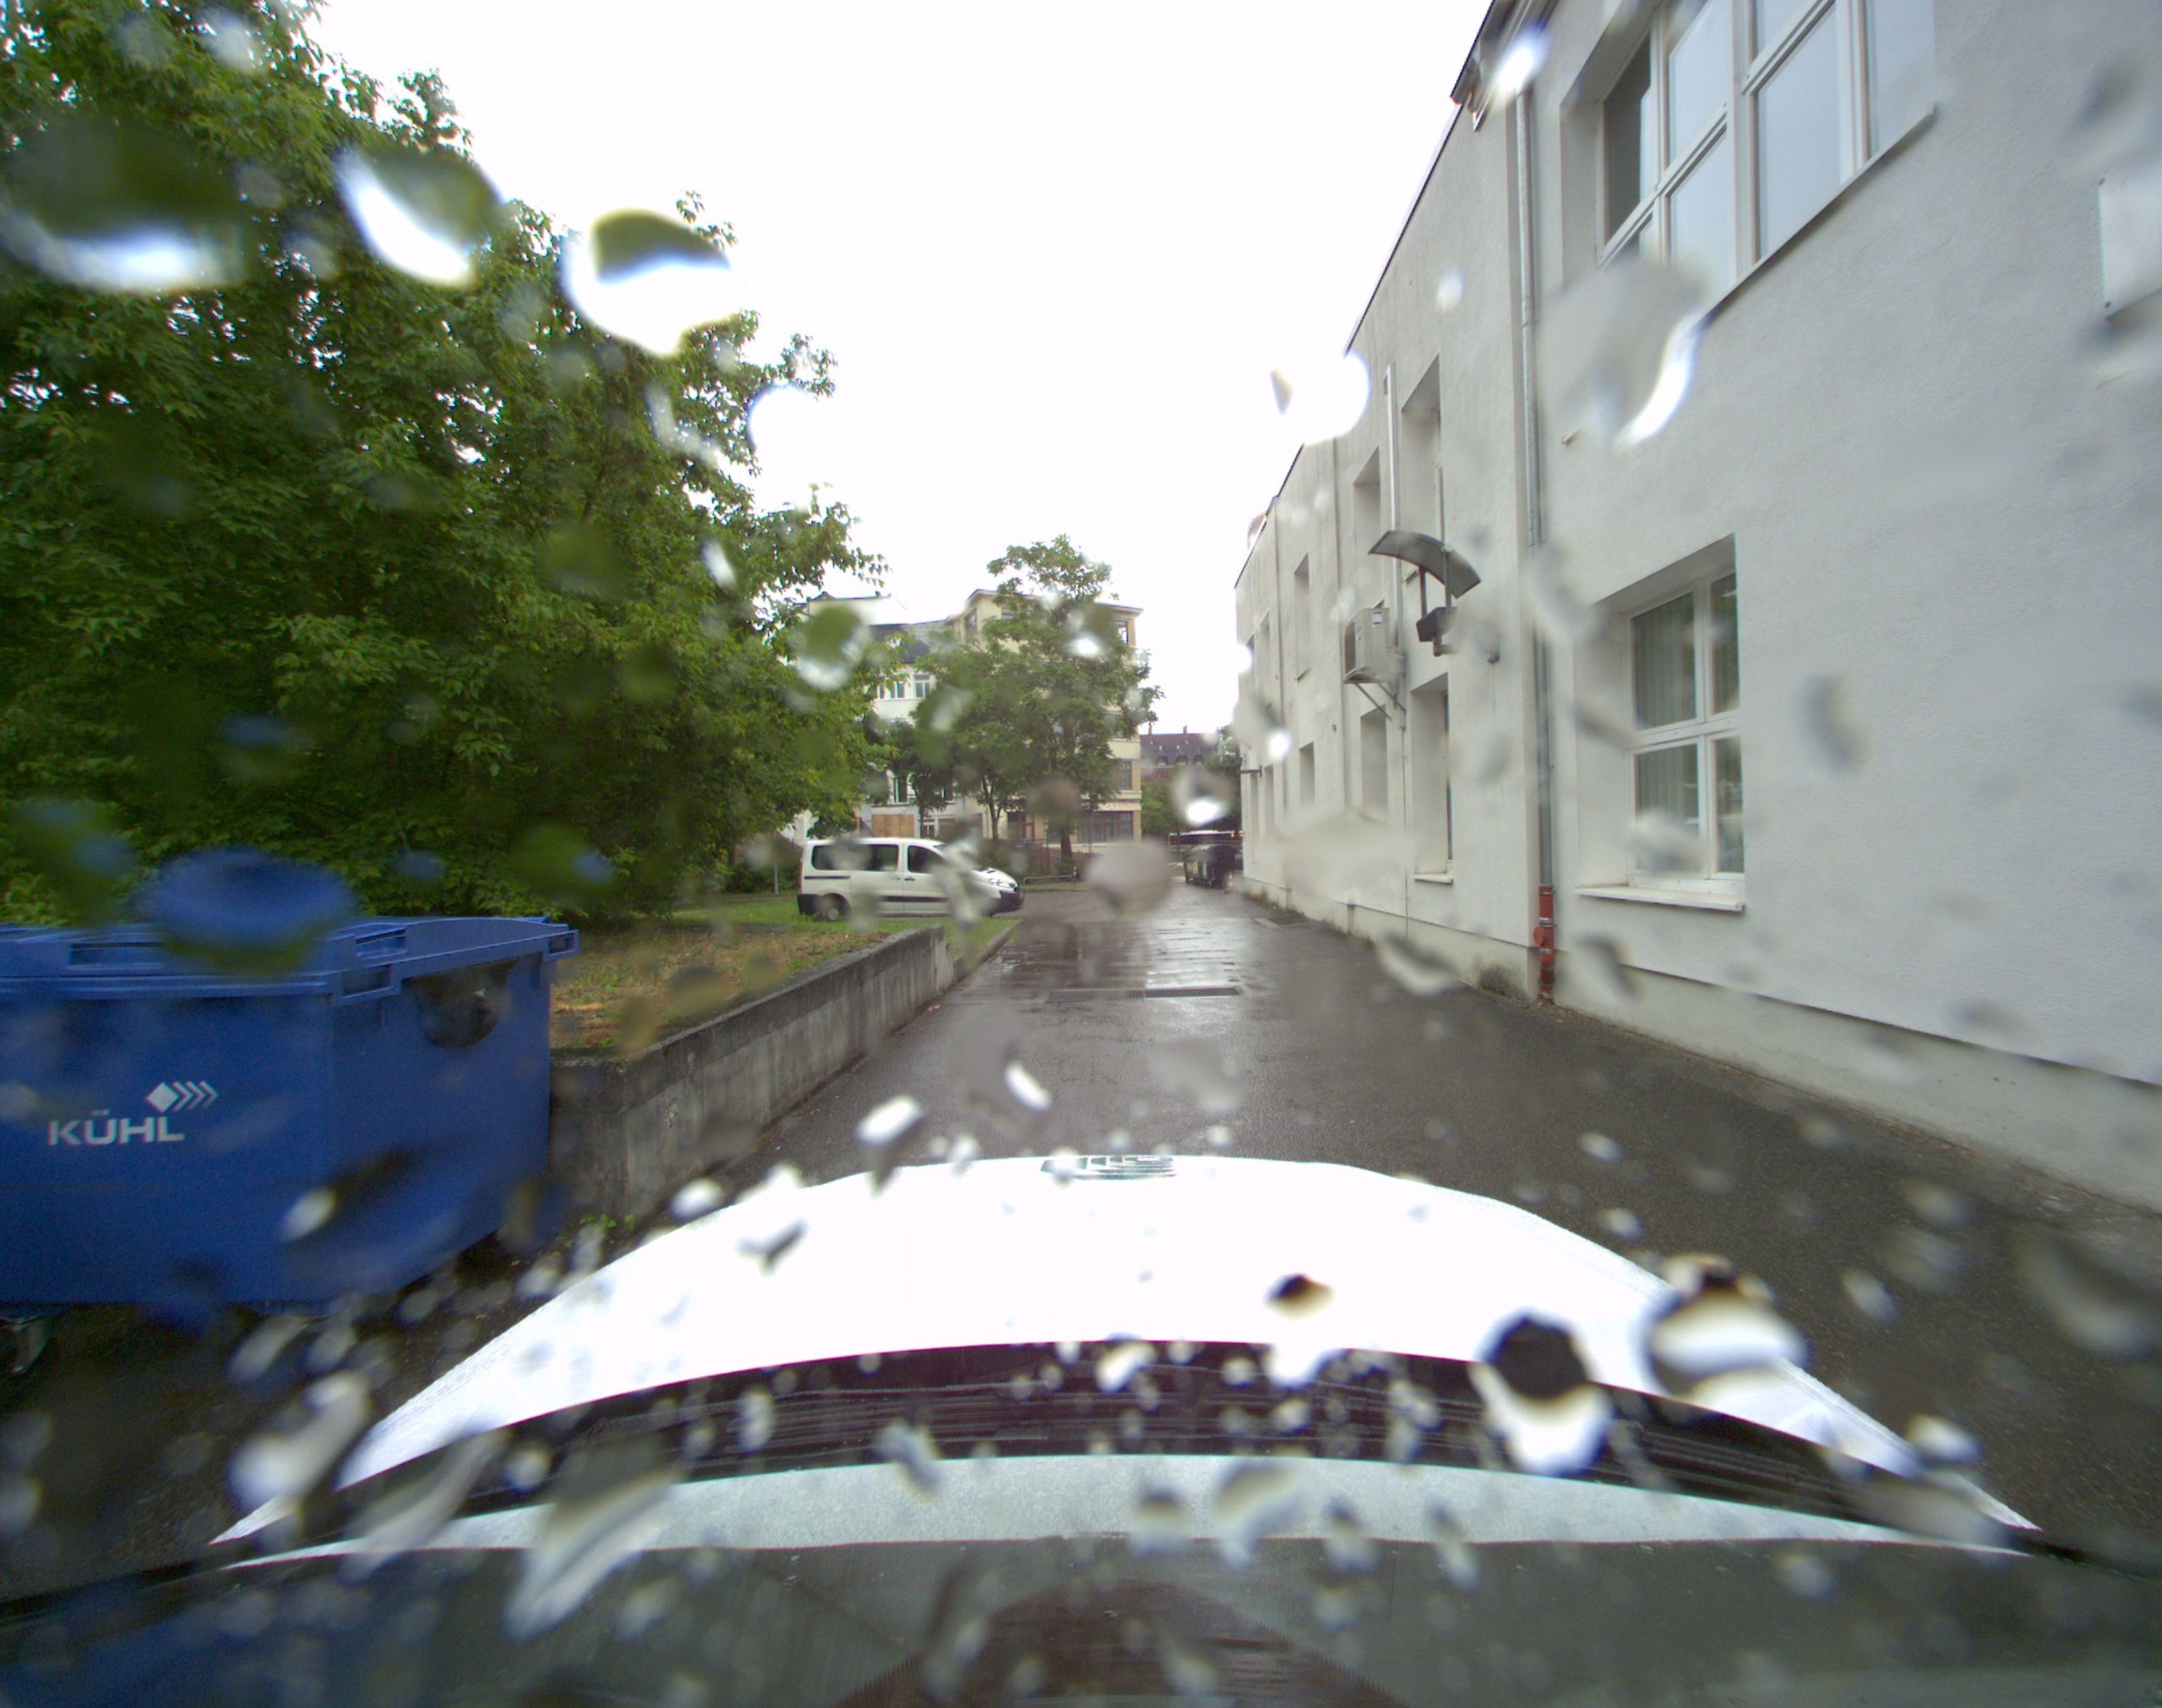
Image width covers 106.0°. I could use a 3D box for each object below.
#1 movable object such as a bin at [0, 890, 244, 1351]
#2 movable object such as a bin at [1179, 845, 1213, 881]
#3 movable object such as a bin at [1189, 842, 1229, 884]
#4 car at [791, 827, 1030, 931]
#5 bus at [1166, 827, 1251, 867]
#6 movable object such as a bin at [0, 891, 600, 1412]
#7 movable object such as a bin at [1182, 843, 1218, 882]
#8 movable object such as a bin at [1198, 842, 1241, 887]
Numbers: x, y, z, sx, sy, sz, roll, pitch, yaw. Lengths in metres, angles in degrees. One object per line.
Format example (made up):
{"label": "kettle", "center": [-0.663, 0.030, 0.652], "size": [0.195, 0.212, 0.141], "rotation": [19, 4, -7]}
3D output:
{"label": "movable object such as a bin", "center": [-3.869, 0.839, 2.632], "size": [1.216, 1.337, 1.007], "rotation": [-2, 1, 3]}
{"label": "movable object such as a bin", "center": [4.682, 0.385, 33.297], "size": [1.210, 1.437, 1.259], "rotation": [-1, -2, 1]}
{"label": "movable object such as a bin", "center": [4.530, 0.332, 28.910], "size": [1.210, 1.437, 1.294], "rotation": [-1, -2, 1]}
{"label": "car", "center": [-3.668, 0.516, 18.158], "size": [4.760, 2.013, 2.002], "rotation": [-2, 1, 3]}
{"label": "bus", "center": [13.927, -0.661, 90.310], "size": [2.822, 3.874, 11.949], "rotation": [0, -2, -27]}
{"label": "movable object such as a bin", "center": [-2.542, 0.838, 2.706], "size": [1.216, 1.337, 1.007], "rotation": [-2, 1, 3]}
{"label": "movable object such as a bin", "center": [4.643, 0.344, 31.918], "size": [1.210, 1.437, 1.259], "rotation": [-1, -2, 1]}
{"label": "movable object such as a bin", "center": [4.618, 0.347, 27.212], "size": [1.210, 1.437, 1.236], "rotation": [-1, -2, 0]}
